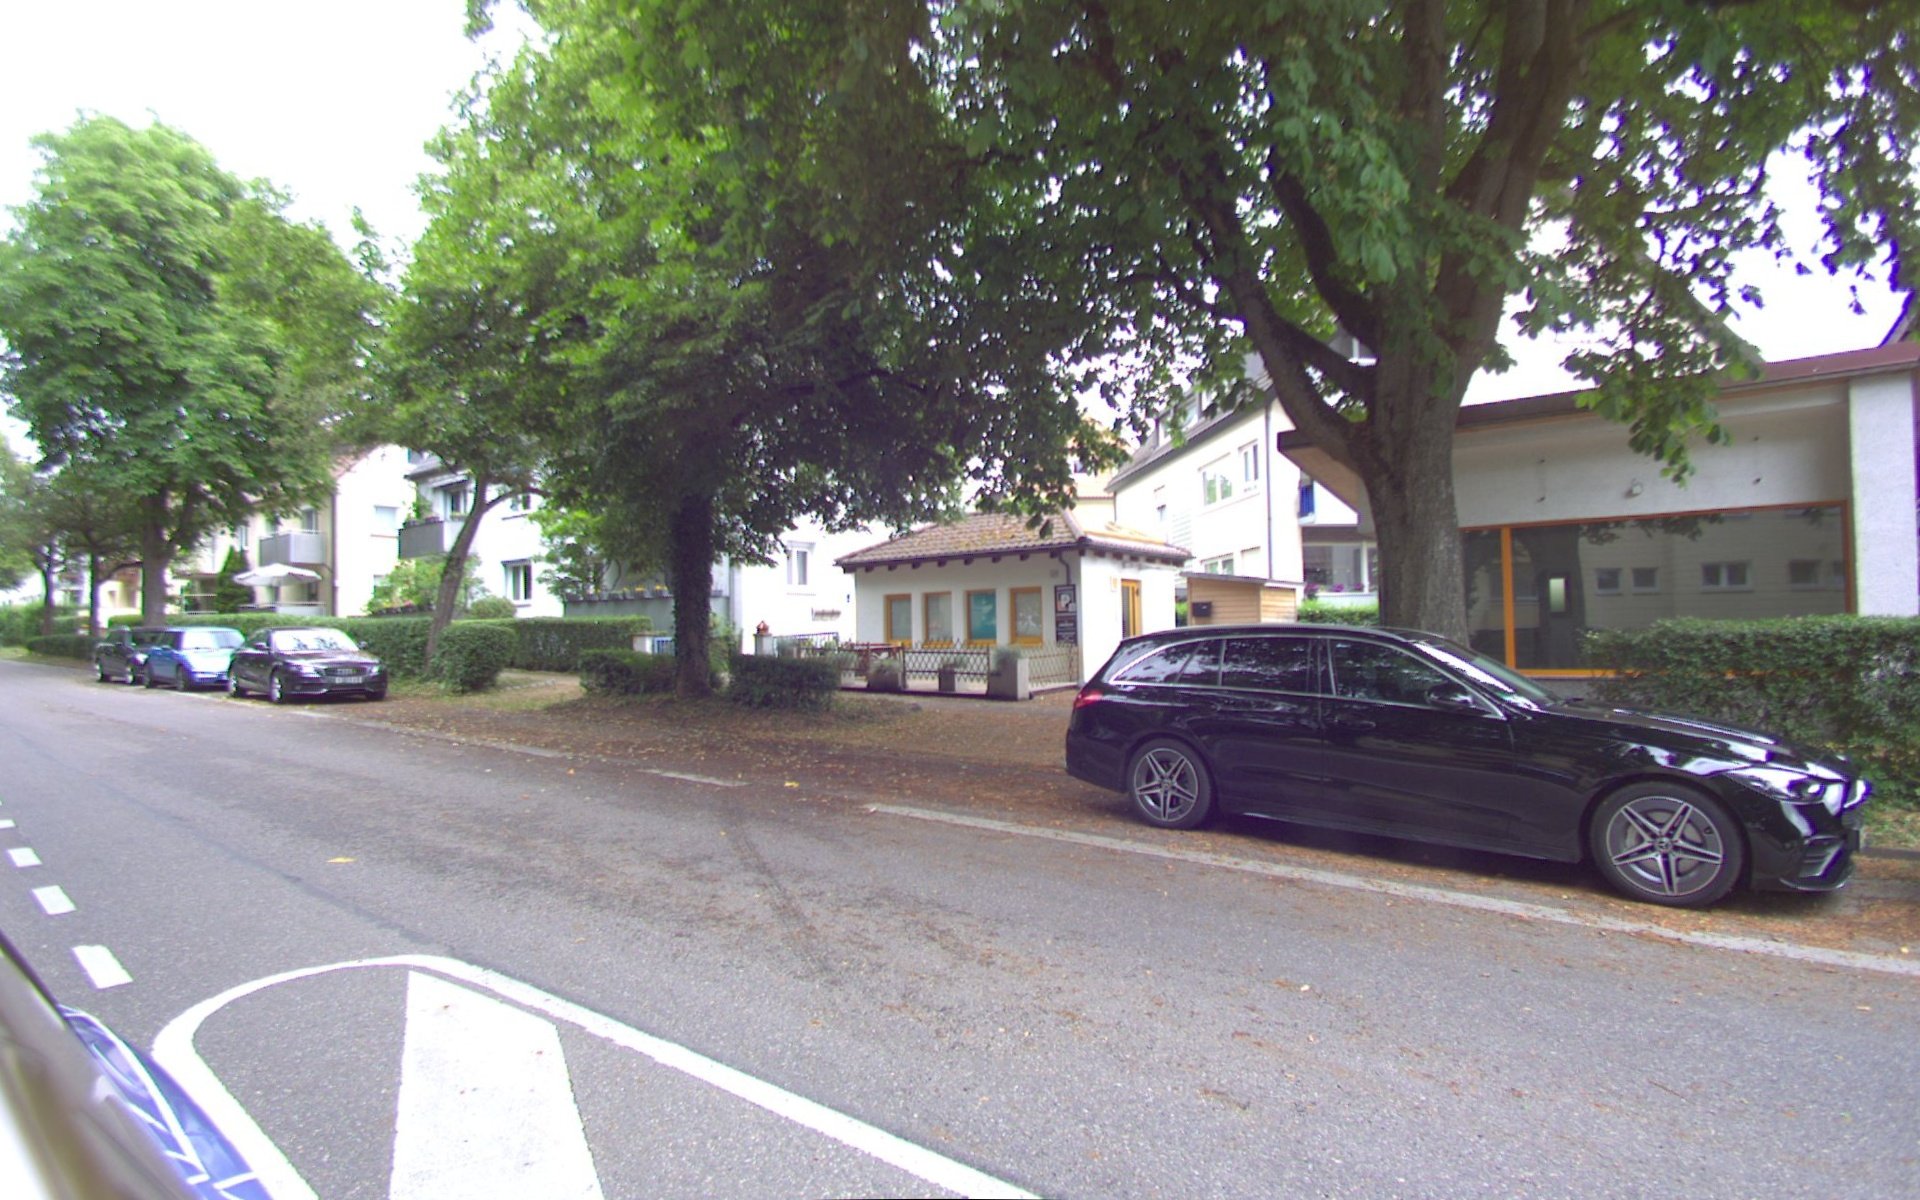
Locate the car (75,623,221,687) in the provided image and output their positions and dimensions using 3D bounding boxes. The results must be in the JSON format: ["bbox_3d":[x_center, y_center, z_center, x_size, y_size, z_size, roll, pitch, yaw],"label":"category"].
[{"bbox_3d":[-21.137,1.390,26.290,4.558,1.545,1.866,-2,-3,37],"label":"car"}]

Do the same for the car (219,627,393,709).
[{"bbox_3d":[-12.714,1.251,19.583,4.169,1.414,1.713,-2,-3,41],"label":"car"}]

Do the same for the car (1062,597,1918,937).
[{"bbox_3d":[3.143,0.825,6.788,4.612,1.511,1.973,-2,-3,41],"label":"car"}]

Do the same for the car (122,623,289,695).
[{"bbox_3d":[-17.431,1.311,23.320,4.558,1.512,1.866,-2,-3,37],"label":"car"}]
